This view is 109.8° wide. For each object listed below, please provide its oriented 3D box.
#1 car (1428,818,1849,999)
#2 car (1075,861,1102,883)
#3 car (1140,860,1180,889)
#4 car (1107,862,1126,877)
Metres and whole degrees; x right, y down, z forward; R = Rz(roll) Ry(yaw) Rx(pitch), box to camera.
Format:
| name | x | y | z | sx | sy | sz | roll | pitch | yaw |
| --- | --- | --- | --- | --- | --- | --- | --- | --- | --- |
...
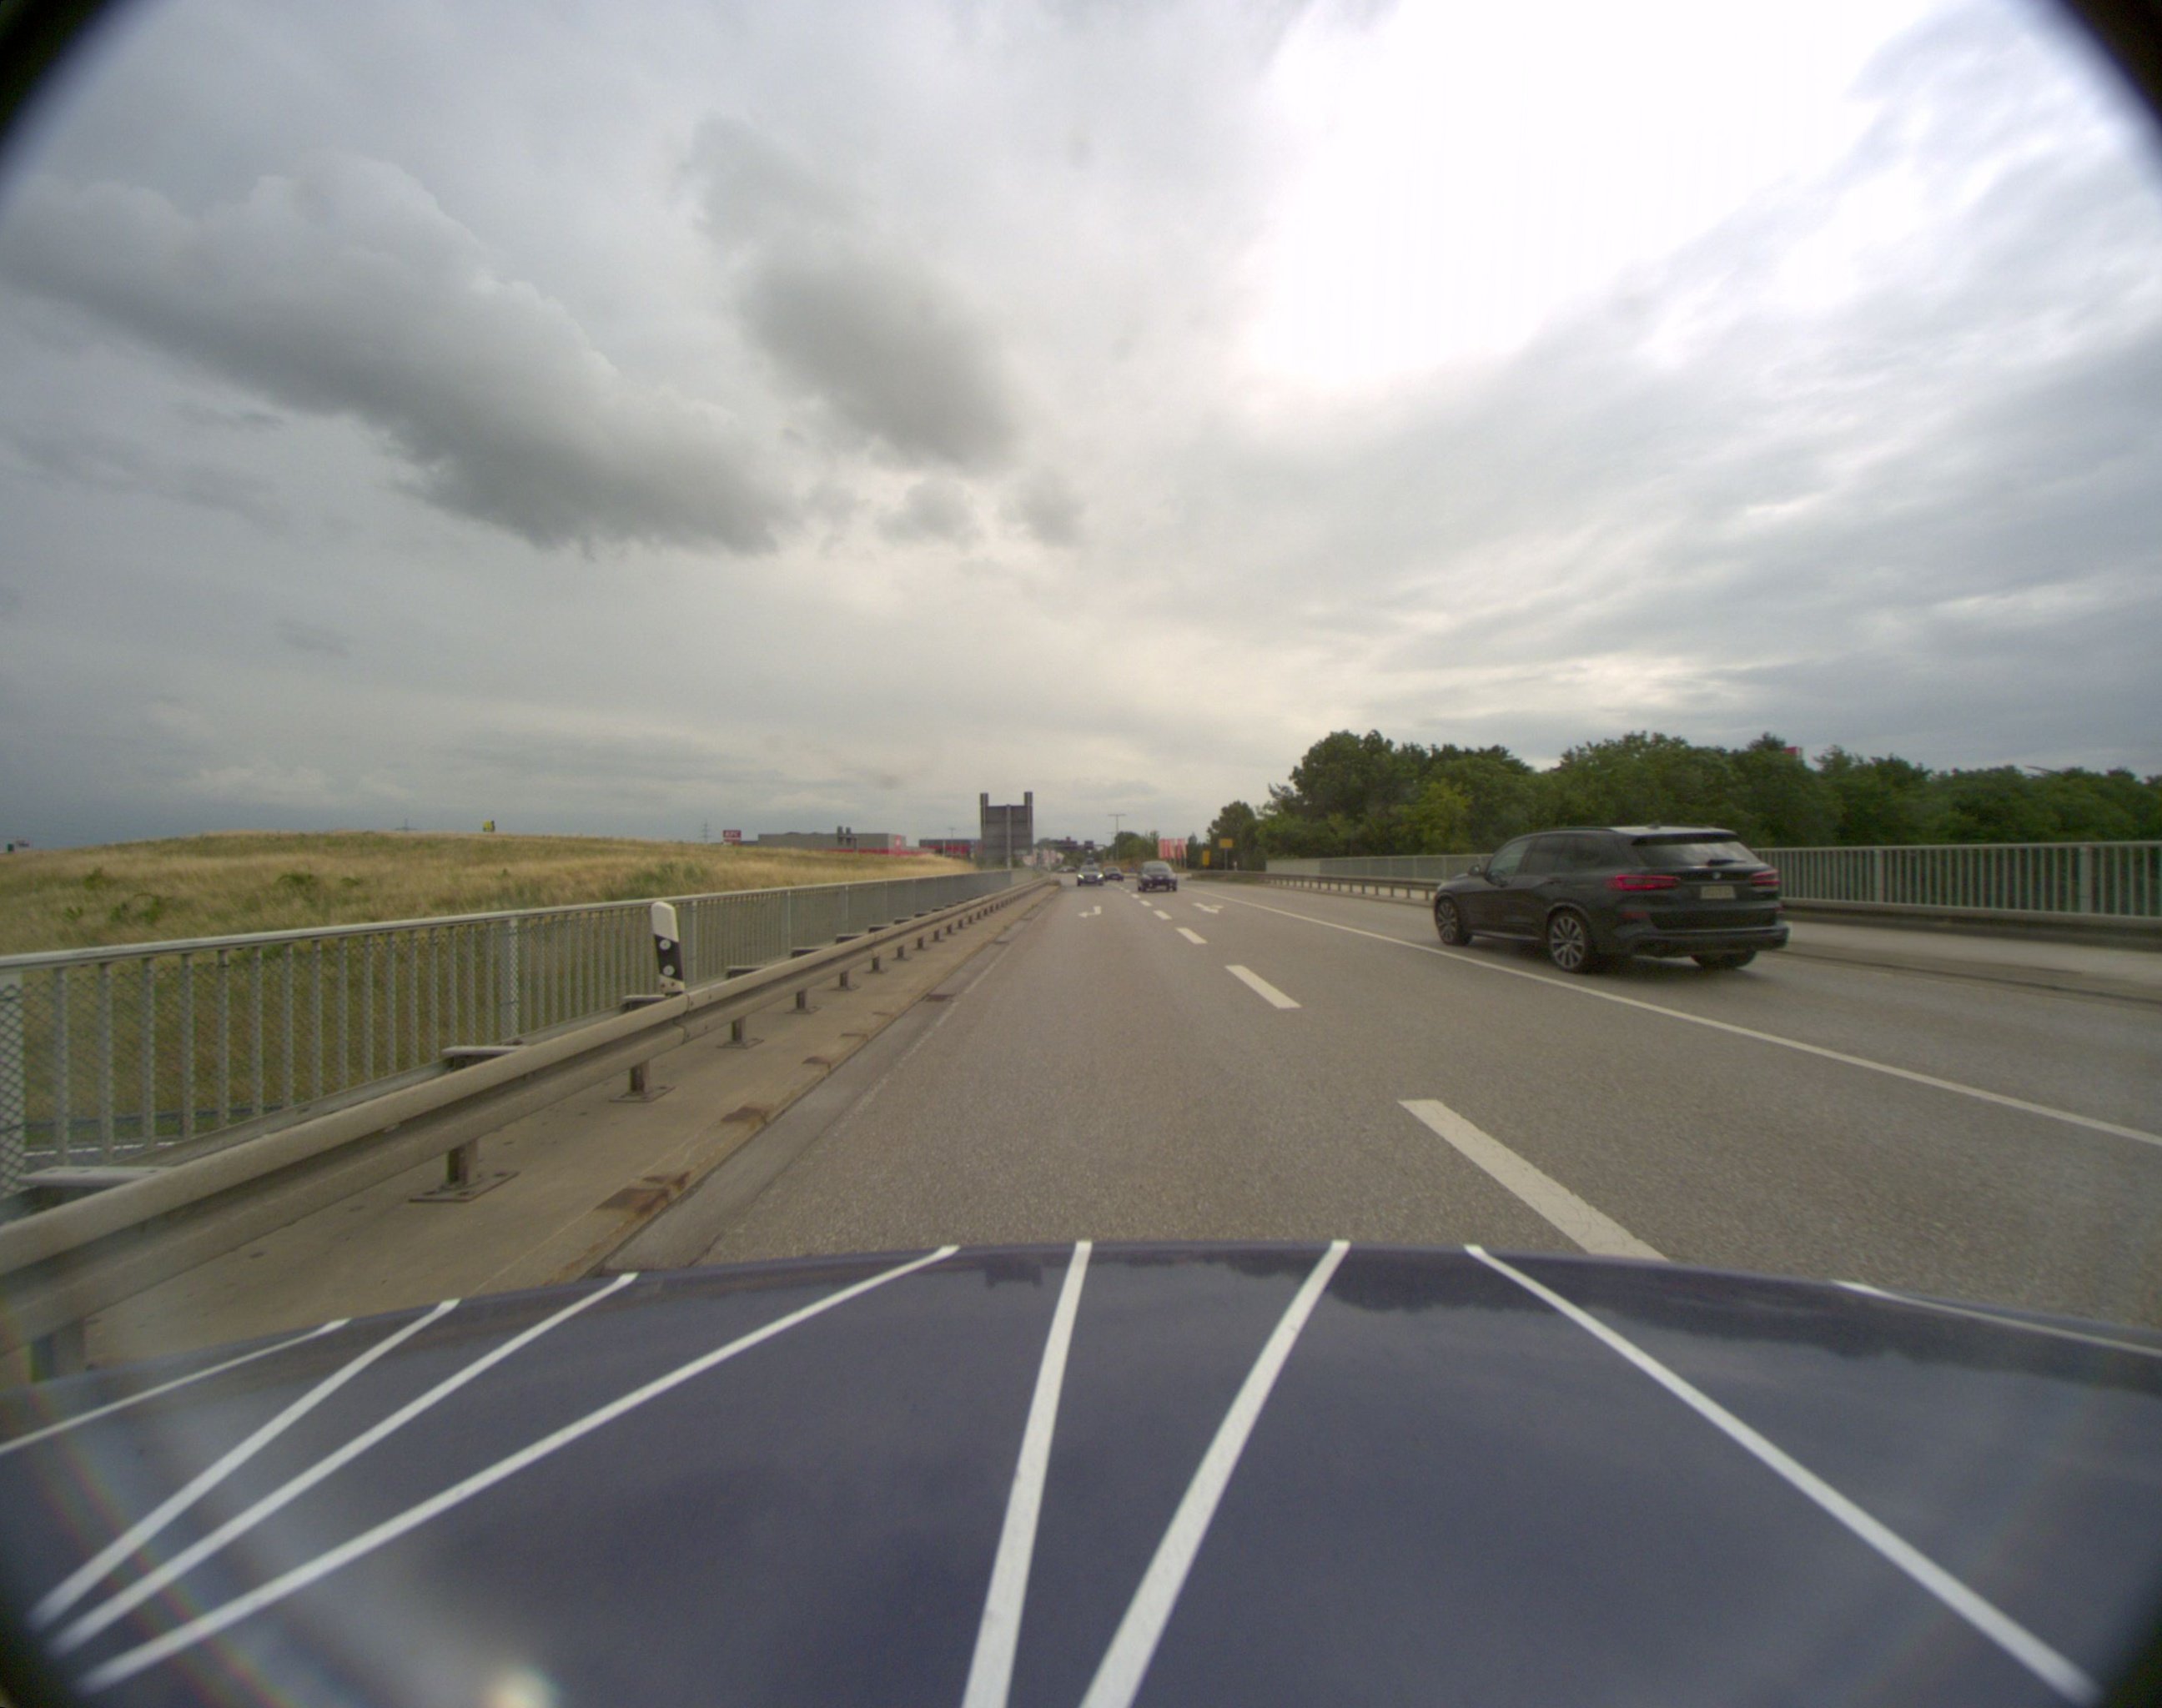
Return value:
| name | x | y | z | sx | sy | sz | roll | pitch | yaw |
| --- | --- | --- | --- | --- | --- | --- | --- | --- | --- |
| car | 6.672 | 0.524 | 9.987 | 1.998 | 1.722 | 4.761 | -3 | 1 | 0 |
| car | 0.569 | 1.246 | 53.512 | 1.764 | 1.411 | 4.092 | -2 | 0 | 2 |
| car | 3.876 | 1.000 | 37.822 | 1.580 | 1.346 | 3.824 | -2 | -1 | 0 |
| car | 3.267 | 1.415 | 70.040 | 1.579 | 1.261 | 3.314 | -2 | 0 | 0 |
